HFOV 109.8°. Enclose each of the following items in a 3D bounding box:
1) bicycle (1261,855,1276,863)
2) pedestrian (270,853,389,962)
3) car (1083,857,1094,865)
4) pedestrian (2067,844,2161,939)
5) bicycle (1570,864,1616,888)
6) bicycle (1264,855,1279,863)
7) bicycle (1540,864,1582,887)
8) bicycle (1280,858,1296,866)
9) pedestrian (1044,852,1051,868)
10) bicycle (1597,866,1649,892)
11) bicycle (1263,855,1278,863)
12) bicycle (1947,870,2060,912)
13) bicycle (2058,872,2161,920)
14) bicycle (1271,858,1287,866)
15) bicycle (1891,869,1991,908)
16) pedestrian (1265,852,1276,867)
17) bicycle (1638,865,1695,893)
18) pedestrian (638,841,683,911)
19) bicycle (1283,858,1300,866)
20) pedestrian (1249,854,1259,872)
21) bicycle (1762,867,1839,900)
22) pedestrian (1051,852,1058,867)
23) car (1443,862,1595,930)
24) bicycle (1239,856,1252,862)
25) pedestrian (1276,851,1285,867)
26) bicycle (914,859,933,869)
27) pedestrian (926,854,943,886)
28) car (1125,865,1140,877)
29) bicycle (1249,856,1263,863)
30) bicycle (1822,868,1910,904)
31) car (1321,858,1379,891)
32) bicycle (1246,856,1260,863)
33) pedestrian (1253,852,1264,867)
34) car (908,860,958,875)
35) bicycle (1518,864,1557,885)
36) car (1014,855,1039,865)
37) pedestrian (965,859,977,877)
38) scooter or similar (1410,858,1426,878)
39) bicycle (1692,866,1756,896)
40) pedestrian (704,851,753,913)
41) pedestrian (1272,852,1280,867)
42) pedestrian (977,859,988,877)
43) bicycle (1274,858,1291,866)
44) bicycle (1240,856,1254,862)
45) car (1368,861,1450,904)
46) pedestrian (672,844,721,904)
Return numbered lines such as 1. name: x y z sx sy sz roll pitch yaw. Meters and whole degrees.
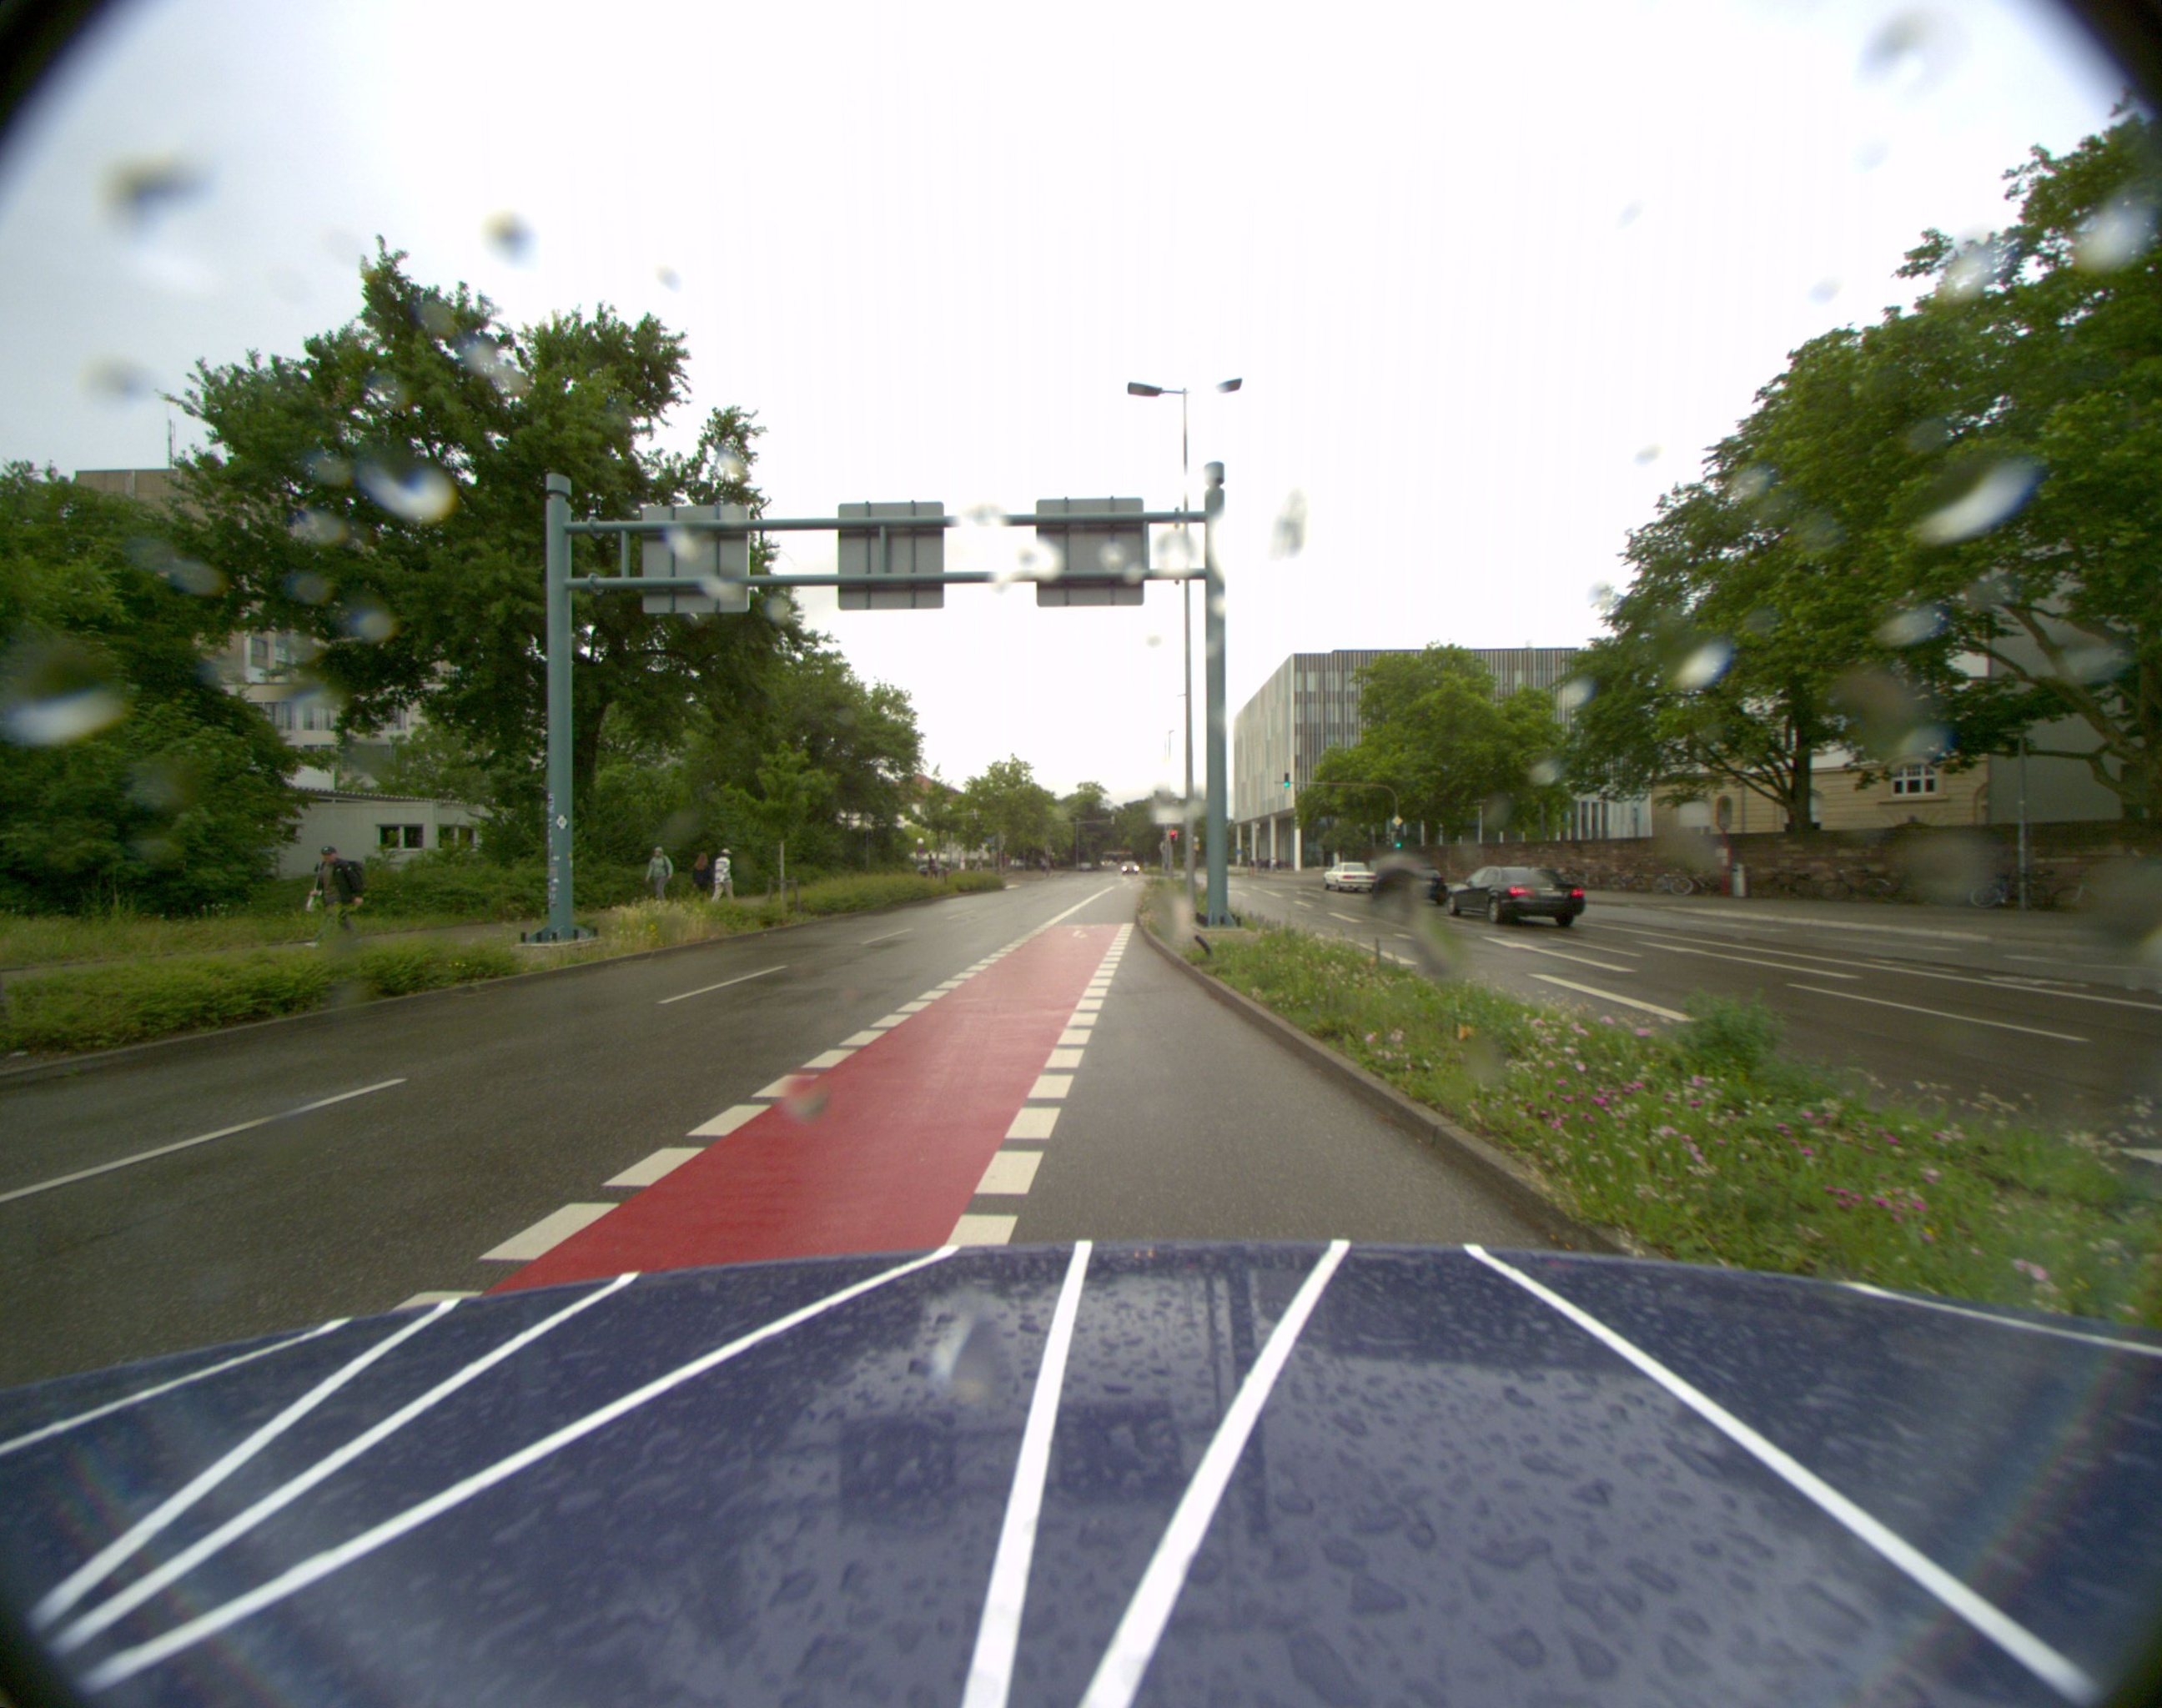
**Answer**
1. bicycle: 29.530 0.836 119.637 2.282 1.215 0.599 0 0 14
2. pedestrian: -12.476 0.853 12.654 0.935 1.737 1.046 0 0 11
3. car: 1.212 1.156 120.386 1.660 1.259 4.108 0 0 3
4. pedestrian: 19.749 0.668 14.177 0.870 1.686 1.400 -1 0 -1
5. bicycle: 22.256 0.954 33.055 0.733 0.977 1.700 -1 0 -6
6. bicycle: 29.482 0.829 117.624 2.282 1.215 0.599 0 0 14
7. bicycle: 21.941 0.961 34.762 0.733 0.977 1.700 -1 0 -6
8. bicycle: 29.617 1.137 108.716 2.286 1.215 0.598 0 0 -8
9. pedestrian: -3.964 0.683 89.798 0.625 1.813 0.786 0 0 -10
10. bicycle: 21.995 0.990 30.887 0.733 0.977 1.864 -1 0 -2
11. bicycle: 29.536 0.832 118.599 2.282 1.215 0.599 0 0 14
12. bicycle: 23.401 0.918 19.321 0.733 0.977 1.700 -1 0 -6
13. bicycle: 23.302 0.924 16.966 0.733 0.977 1.700 -1 0 -6
14. bicycle: 29.002 1.148 111.269 2.286 1.215 0.598 0 0 -8
15. bicycle: 23.347 0.922 20.674 0.733 0.977 1.700 -1 0 -6
16. pedestrian: 23.300 0.628 93.255 0.940 1.813 0.922 0 0 -19
17. bicycle: 22.340 0.940 29.025 0.733 0.977 1.700 -1 0 -6
18. pedestrian: -12.274 0.634 22.209 0.792 2.002 0.829 0 0 11
19. bicycle: 29.903 1.134 108.079 2.286 1.215 0.598 0 0 -8
20. pedestrian: 18.256 0.941 80.134 0.787 1.813 0.795 0 0 -19
21. bicycle: 22.810 0.922 24.123 0.733 0.977 1.700 -1 0 -6
22. pedestrian: -3.143 0.678 90.072 0.625 1.813 0.786 0 0 -17
23. car: 11.432 1.010 20.256 1.812 1.531 4.706 1 0 7
24. bicycle: 29.842 0.891 138.010 2.282 1.215 0.599 0 0 14
25. pedestrian: 23.758 0.589 90.636 0.787 1.813 0.624 0 0 -19
26. bicycle: -20.266 1.312 97.753 2.286 1.215 0.598 0 0 -8
27. pedestrian: -8.809 0.956 45.623 0.731 1.848 0.851 0 0 11
28. car: 5.883 1.963 87.832 1.660 1.356 4.108 0 0 3
29. bicycle: 30.287 0.941 131.674 2.282 1.215 0.599 0 0 14
30. bicycle: 23.087 0.914 22.393 0.733 0.977 1.700 -1 0 -6
31. car: 13.016 0.950 37.016 1.599 1.407 4.526 1 0 6
32. bicycle: 30.111 0.969 133.070 2.282 1.215 0.599 0 0 14
33. pedestrian: 21.942 0.635 93.712 0.941 1.813 0.922 0 0 -26
34. car: -13.931 1.255 71.738 4.386 1.330 1.772 0 3 1
35. bicycle: 22.081 0.967 36.782 0.733 0.977 1.700 -1 0 -6
36. car: -9.702 1.040 135.454 4.425 1.861 1.638 0 0 -3
37. pedestrian: -10.048 1.292 69.400 0.878 1.597 0.862 0 0 -23
38. scooter or similar: 21.502 0.872 48.456 0.392 1.191 1.142 -7 0 0
39. bicycle: 22.717 0.931 26.888 0.733 0.977 1.700 -1 0 -6
40. pedestrian: -10.003 0.795 21.573 0.935 1.710 0.830 -2 -2 9
41. pedestrian: 23.646 0.640 92.138 0.787 1.813 0.624 0 0 -19
42. pedestrian: -8.982 1.283 69.528 0.878 1.597 0.862 0 0 -17
43. bicycle: 29.194 1.144 110.156 2.286 1.215 0.598 0 0 -8
44. bicycle: 29.414 0.887 134.644 2.282 1.215 0.599 0 0 14
45. car: 12.156 1.001 28.436 1.627 1.407 4.068 1 0 6
46. pedestrian: -11.048 0.588 21.860 0.935 1.693 0.830 -2 -2 9
